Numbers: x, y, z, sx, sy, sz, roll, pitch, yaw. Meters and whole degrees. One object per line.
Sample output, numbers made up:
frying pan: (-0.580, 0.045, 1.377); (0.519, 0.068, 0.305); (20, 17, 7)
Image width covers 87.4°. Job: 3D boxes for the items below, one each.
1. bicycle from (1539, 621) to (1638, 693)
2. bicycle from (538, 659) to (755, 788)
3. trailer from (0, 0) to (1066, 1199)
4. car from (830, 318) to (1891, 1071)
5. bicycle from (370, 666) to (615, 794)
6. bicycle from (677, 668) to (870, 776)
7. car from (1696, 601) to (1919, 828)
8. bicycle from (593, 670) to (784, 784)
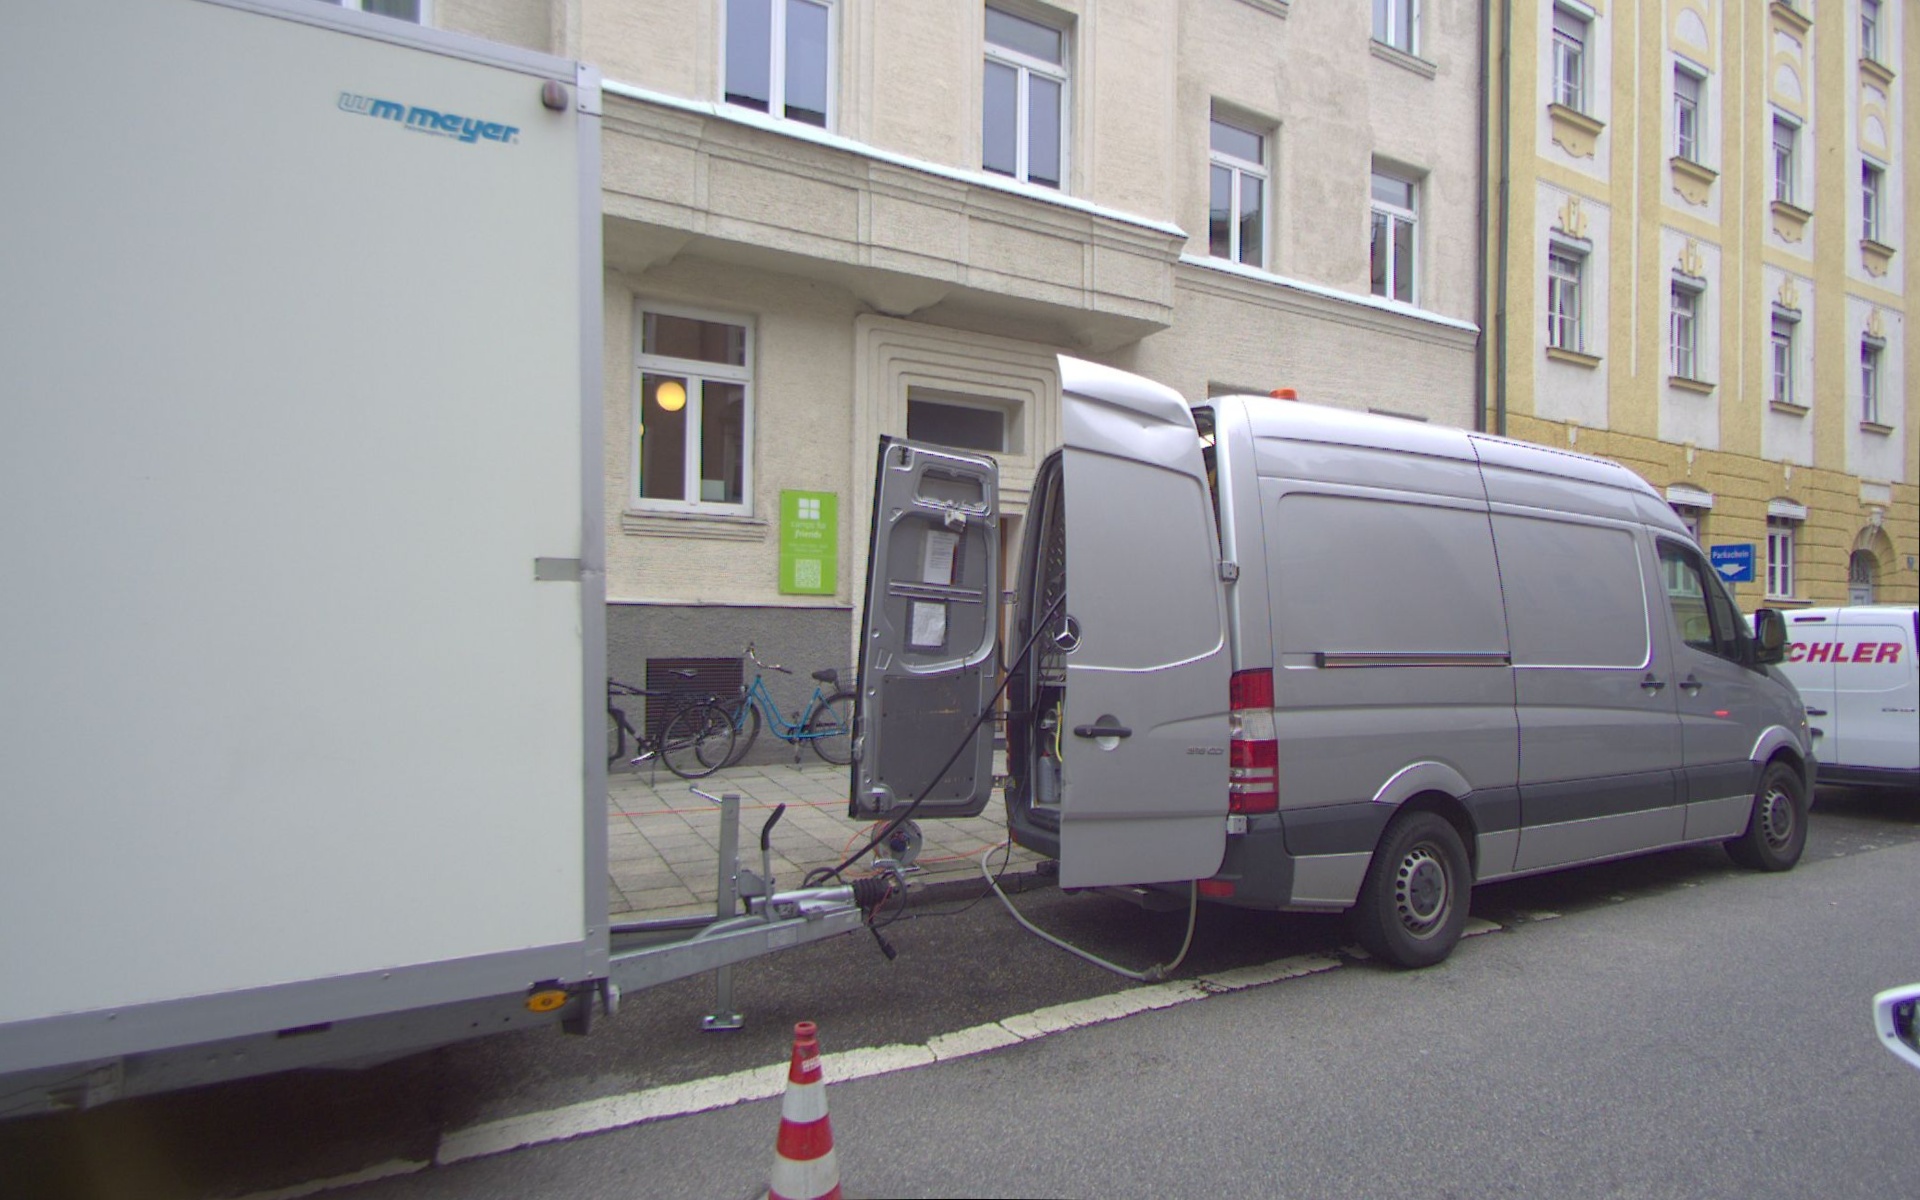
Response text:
bicycle: (10.193, 0.917, 16.279); (1.745, 1.119, 0.604); (2, -1, -29)
bicycle: (-2.759, 1.056, 8.899); (1.779, 1.019, 0.429); (1, 1, -26)
trailer: (-3.689, 0.060, 2.463); (7.500, 3.007, 2.795); (0, -4, -27)
car: (2.775, 0.451, 6.073); (6.793, 2.620, 2.048); (1, -5, -29)
bicycle: (-3.815, 1.040, 8.298); (1.779, 0.935, 0.394); (1, 1, -26)
bicycle: (-1.753, 1.131, 9.517); (1.732, 0.927, 0.414); (2, 2, -24)
car: (9.191, 0.989, 9.603); (4.272, 1.802, 1.756); (1, -3, -28)
bicycle: (-2.379, 1.109, 8.867); (1.563, 0.927, 0.394); (2, 2, -17)
